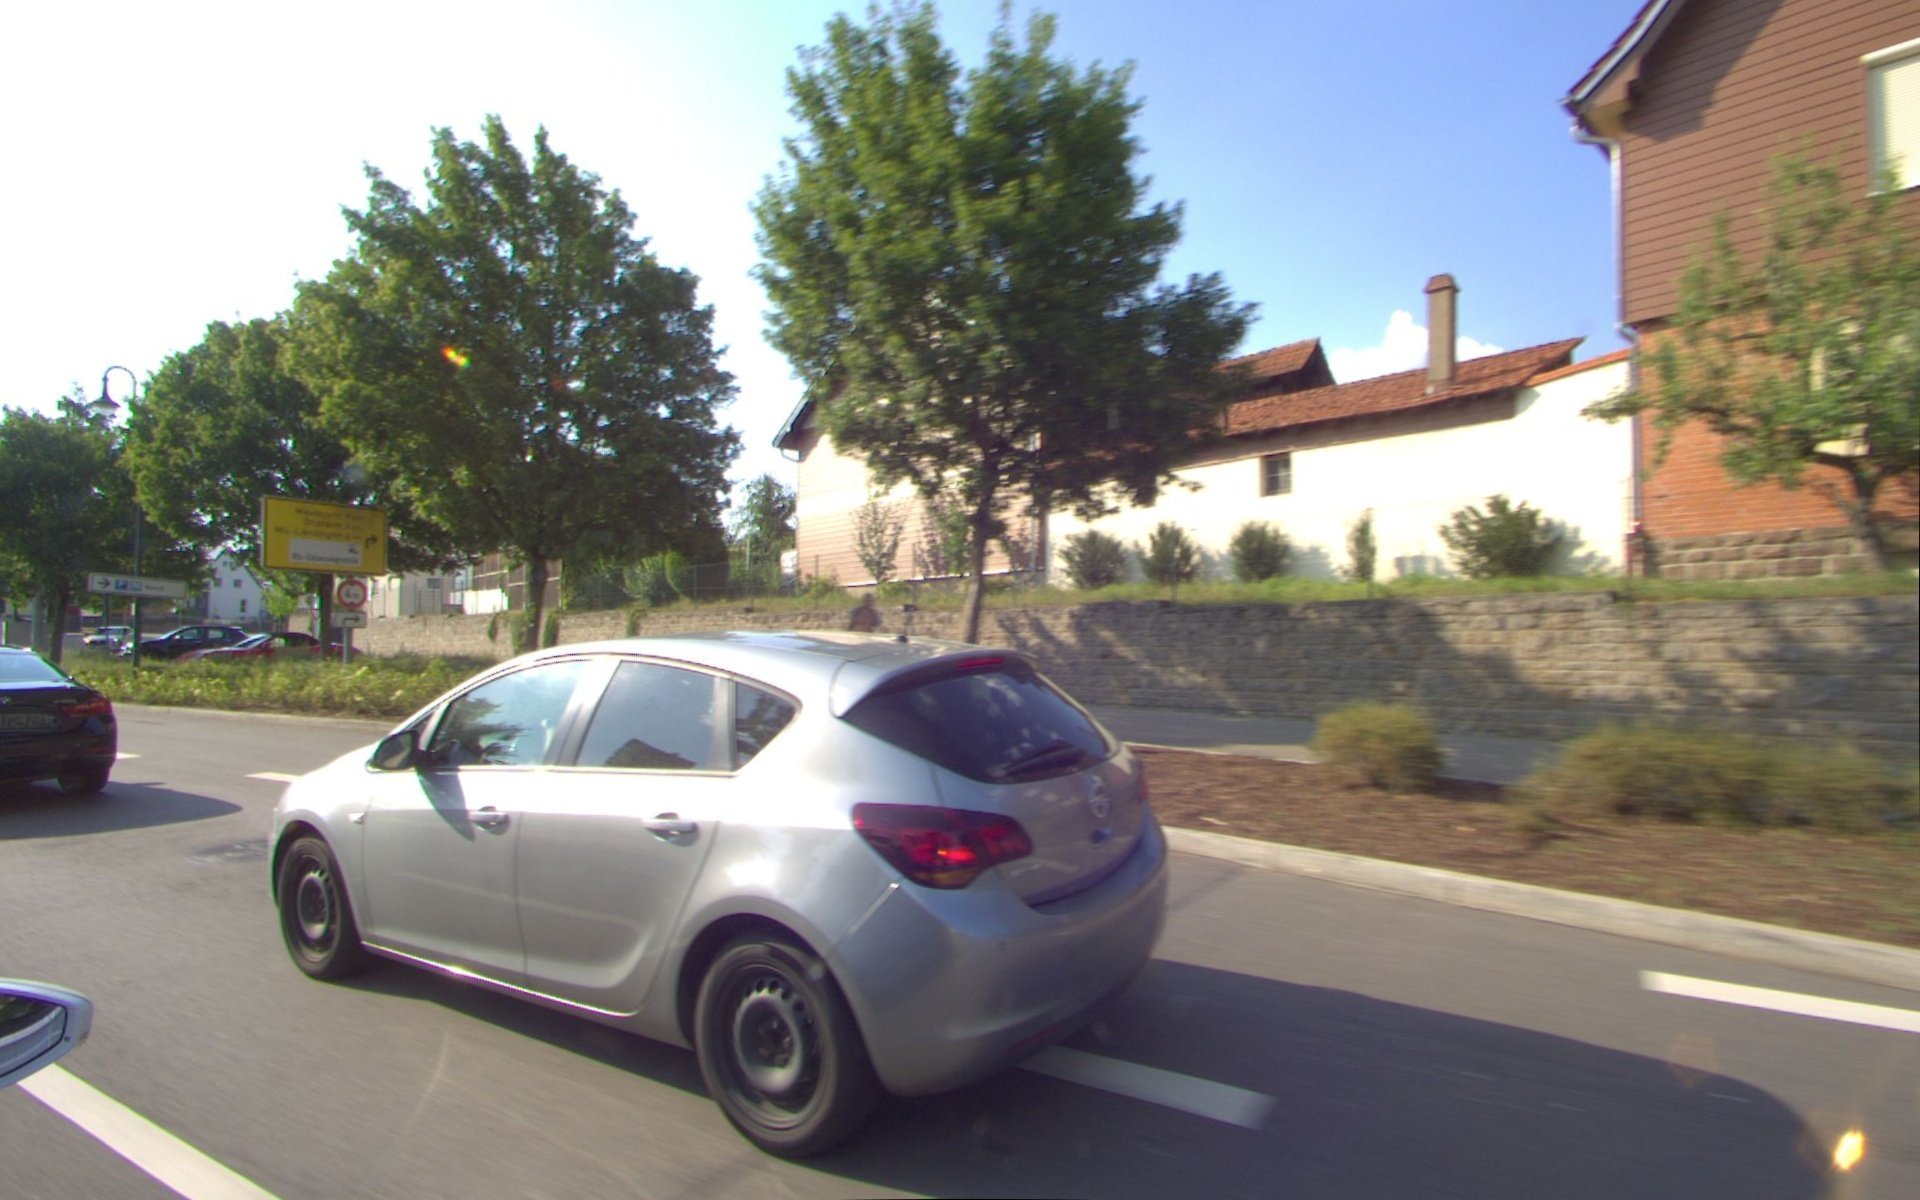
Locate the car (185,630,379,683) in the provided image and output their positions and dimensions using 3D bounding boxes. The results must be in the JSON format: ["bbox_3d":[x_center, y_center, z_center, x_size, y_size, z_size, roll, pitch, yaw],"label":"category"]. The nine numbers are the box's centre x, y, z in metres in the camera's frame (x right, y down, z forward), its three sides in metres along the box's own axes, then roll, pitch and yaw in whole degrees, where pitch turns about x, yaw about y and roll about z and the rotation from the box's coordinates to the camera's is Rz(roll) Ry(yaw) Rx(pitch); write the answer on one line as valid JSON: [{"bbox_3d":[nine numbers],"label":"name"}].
[{"bbox_3d":[-17.881,1.457,26.535,1.834,1.288,3.965,-2,-3,43],"label":"car"}]

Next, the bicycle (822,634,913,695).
[{"bbox_3d":[-1.647,1.110,17.609,1.856,1.031,0.518,-2,-2,44],"label":"bicycle"}]

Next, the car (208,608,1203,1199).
[{"bbox_3d":[-1.260,0.818,4.213,4.108,1.460,1.740,-1,-2,33],"label":"car"}]

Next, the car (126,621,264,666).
[{"bbox_3d":[-29.228,1.662,38.340,1.834,1.628,3.965,-2,-2,43],"label":"car"}]

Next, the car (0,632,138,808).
[{"bbox_3d":[-9.515,1.013,9.210,4.286,1.406,1.813,-1,-2,33],"label":"car"}]

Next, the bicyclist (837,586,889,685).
[{"bbox_3d":[-1.715,0.623,17.692,0.726,1.699,0.599,-1,-2,44],"label":"bicyclist"}]

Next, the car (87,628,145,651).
[{"bbox_3d":[-57.606,2.720,68.437,1.838,1.504,4.643,1,-2,-25],"label":"car"}]
